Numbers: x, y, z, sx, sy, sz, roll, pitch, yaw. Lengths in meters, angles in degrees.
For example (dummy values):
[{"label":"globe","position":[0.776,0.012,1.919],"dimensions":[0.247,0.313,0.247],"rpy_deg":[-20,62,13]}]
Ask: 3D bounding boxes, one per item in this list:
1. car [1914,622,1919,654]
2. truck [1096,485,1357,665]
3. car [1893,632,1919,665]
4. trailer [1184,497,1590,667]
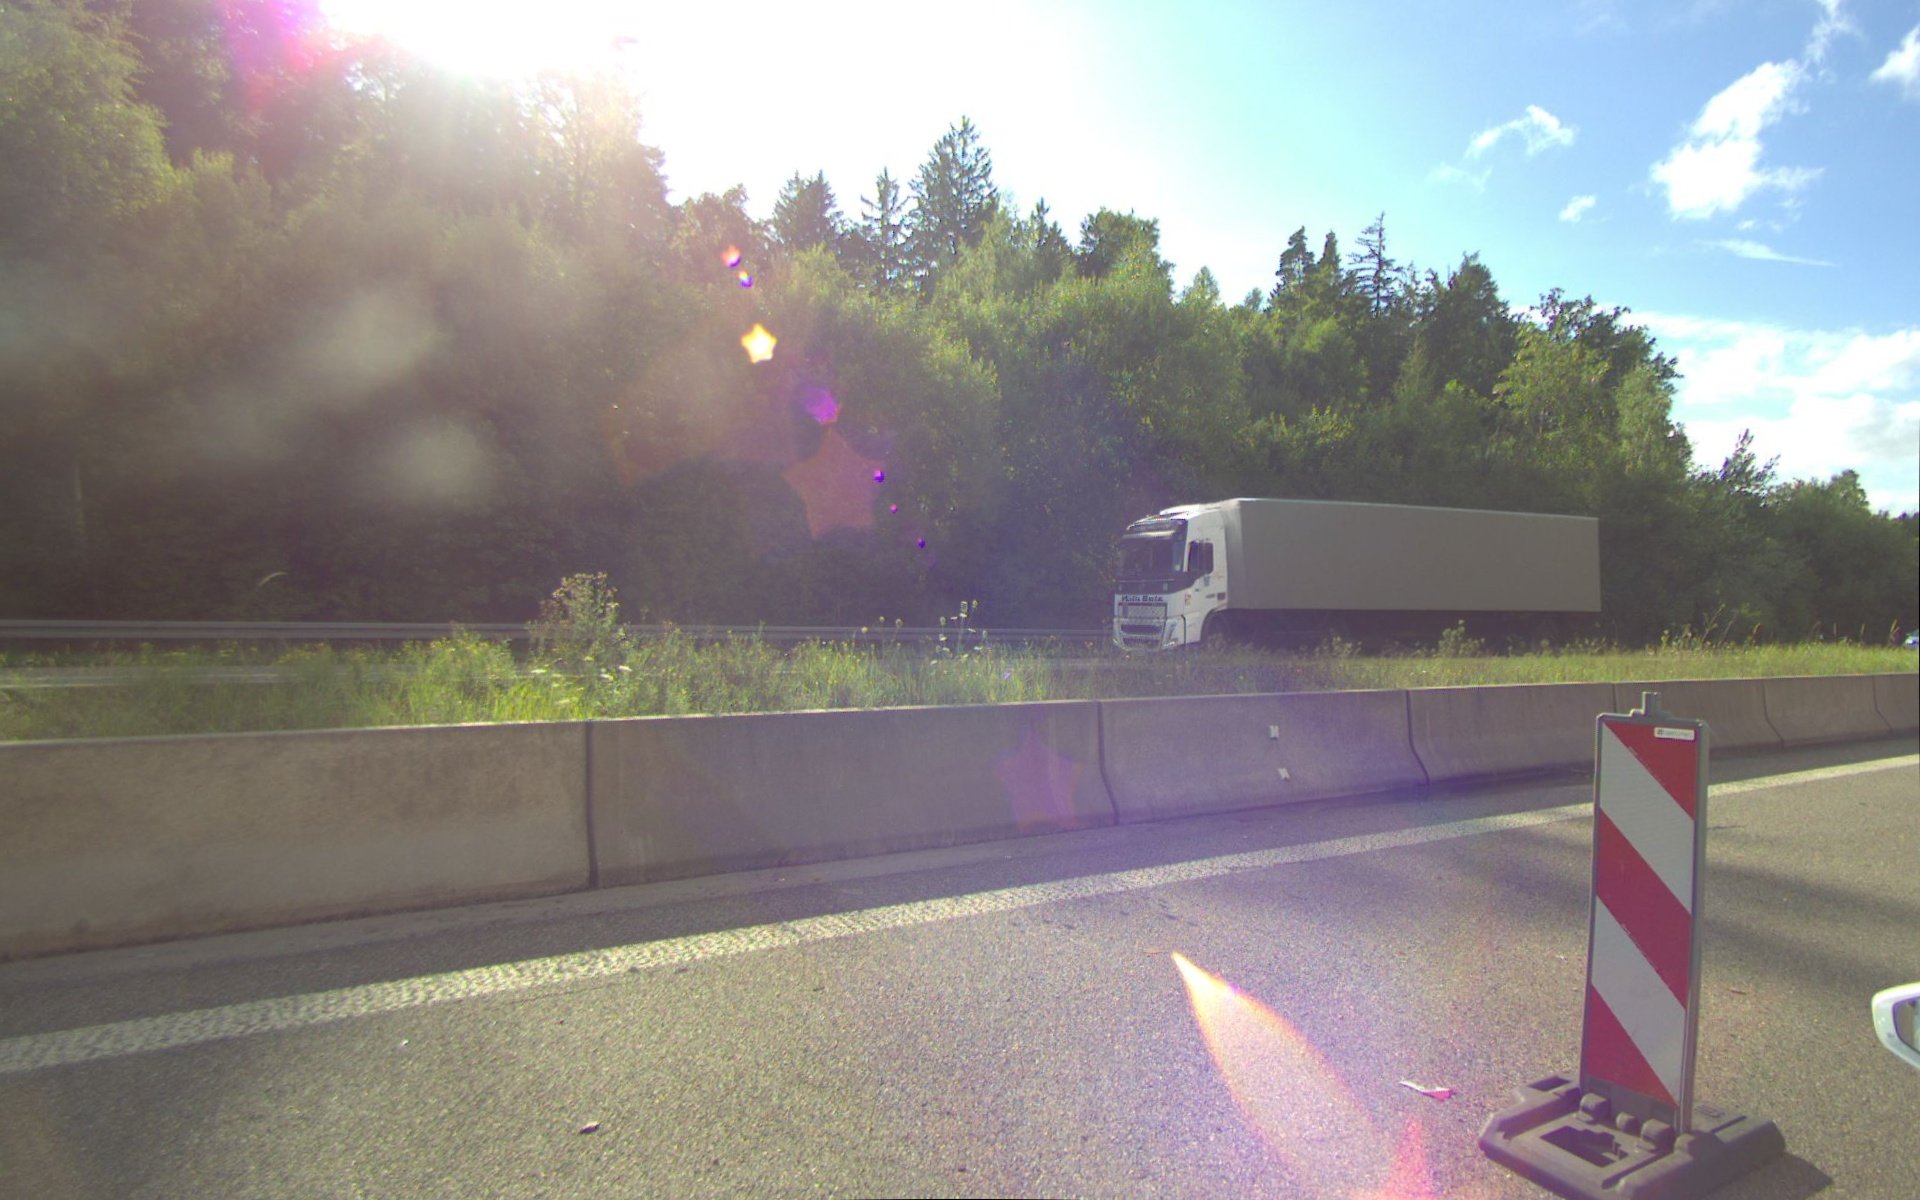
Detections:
[{"label":"car","position":[64.274,2.518,65.445],"dimensions":[3.953,2.040,1.984],"rpy_deg":[2,0,-30]},{"label":"truck","position":[6.600,-0.477,24.749],"dimensions":[5.879,3.961,2.813],"rpy_deg":[2,0,-30]},{"label":"car","position":[47.923,2.413,49.487],"dimensions":[3.953,1.581,1.778],"rpy_deg":[2,0,-30]},{"label":"trailer","position":[12.454,-0.236,28.208],"dimensions":[13.777,3.974,2.814],"rpy_deg":[2,0,-31]}]
